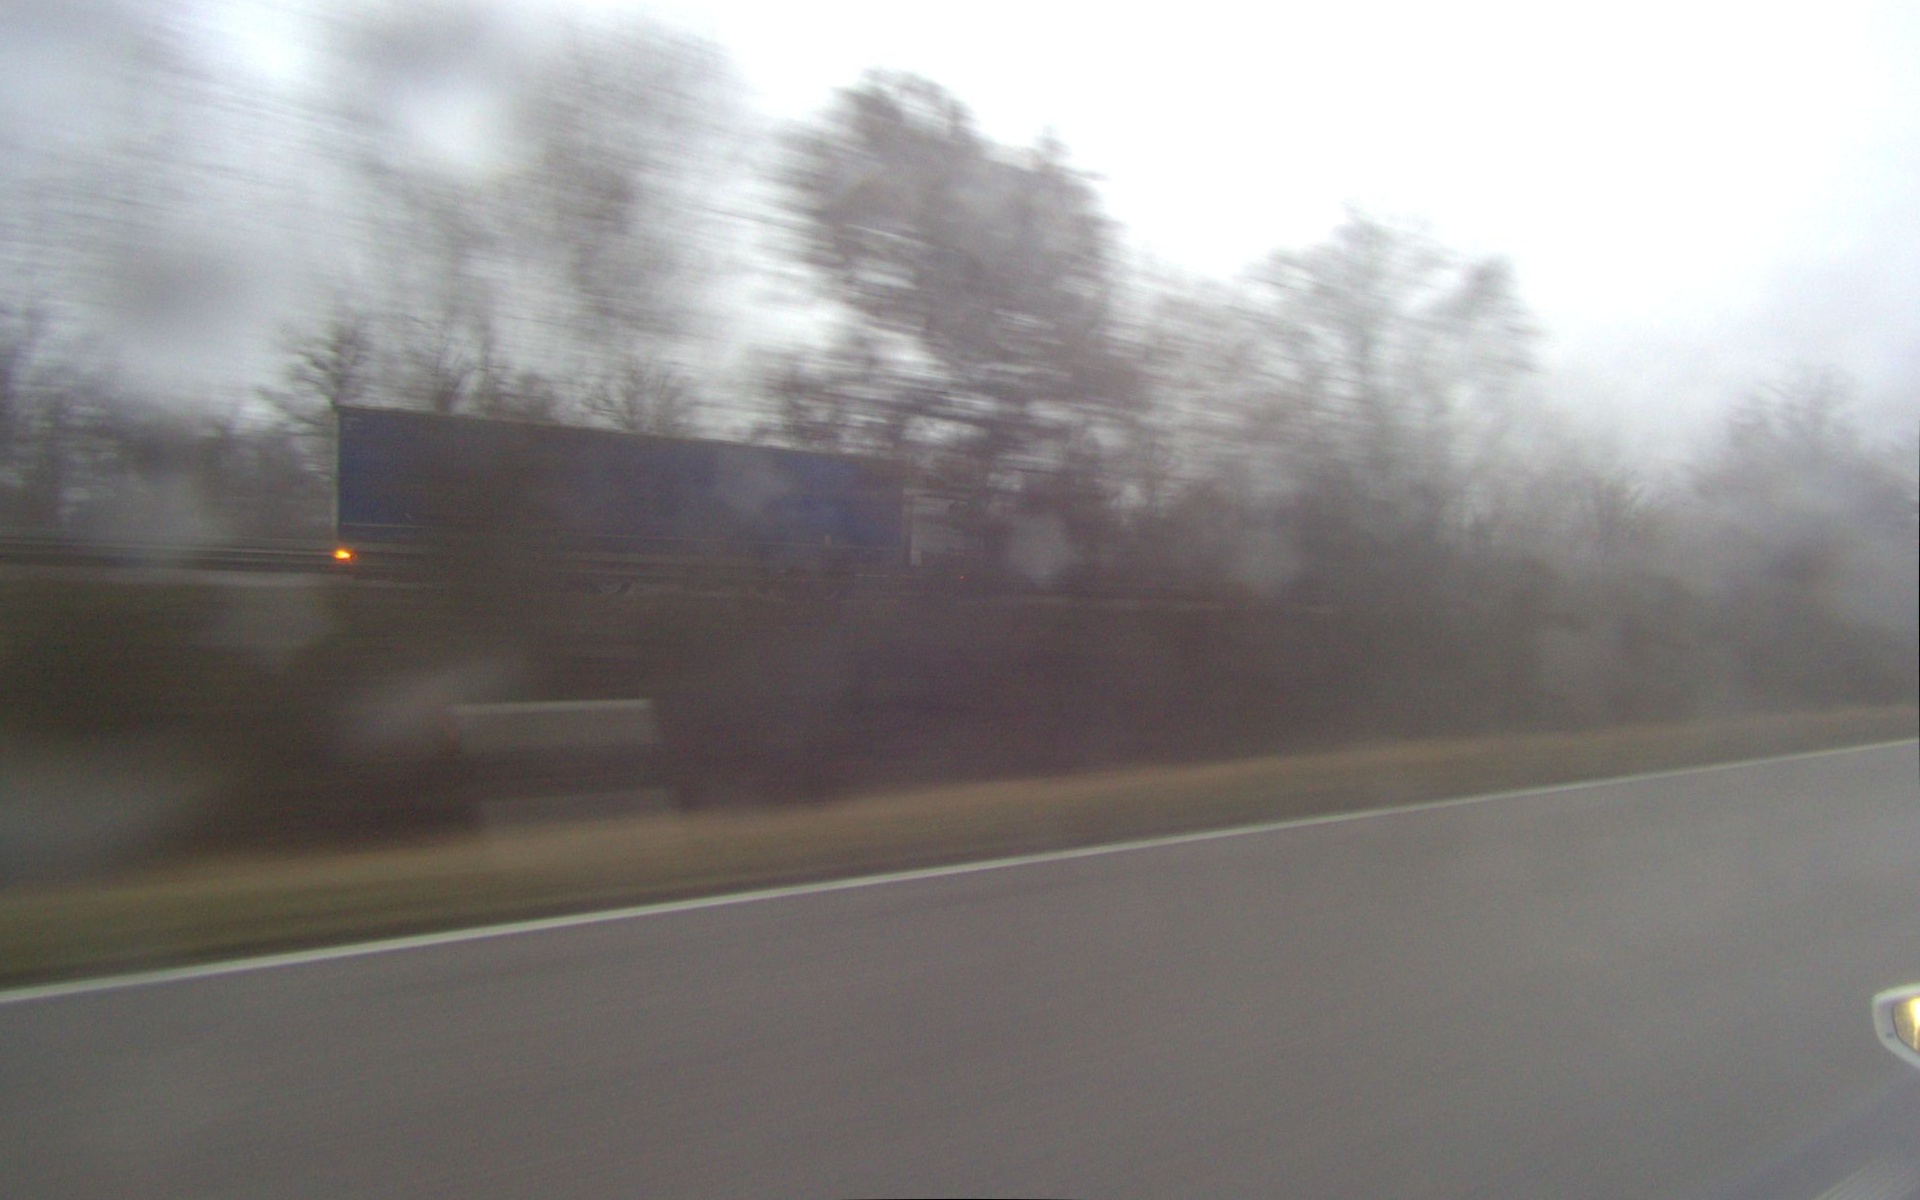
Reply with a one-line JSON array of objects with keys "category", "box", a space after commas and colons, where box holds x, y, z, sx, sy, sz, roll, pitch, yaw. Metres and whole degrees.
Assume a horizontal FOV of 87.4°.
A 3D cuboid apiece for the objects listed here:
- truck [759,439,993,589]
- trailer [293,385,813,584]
[{"category": "truck", "box": [-2.378, -2.254, 28.824, 5.997, 3.680, 2.977, 1, -1, -31]}, {"category": "trailer", "box": [-9.414, -2.403, 24.561, 11.256, 3.682, 2.983, 1, -1, -31]}]
